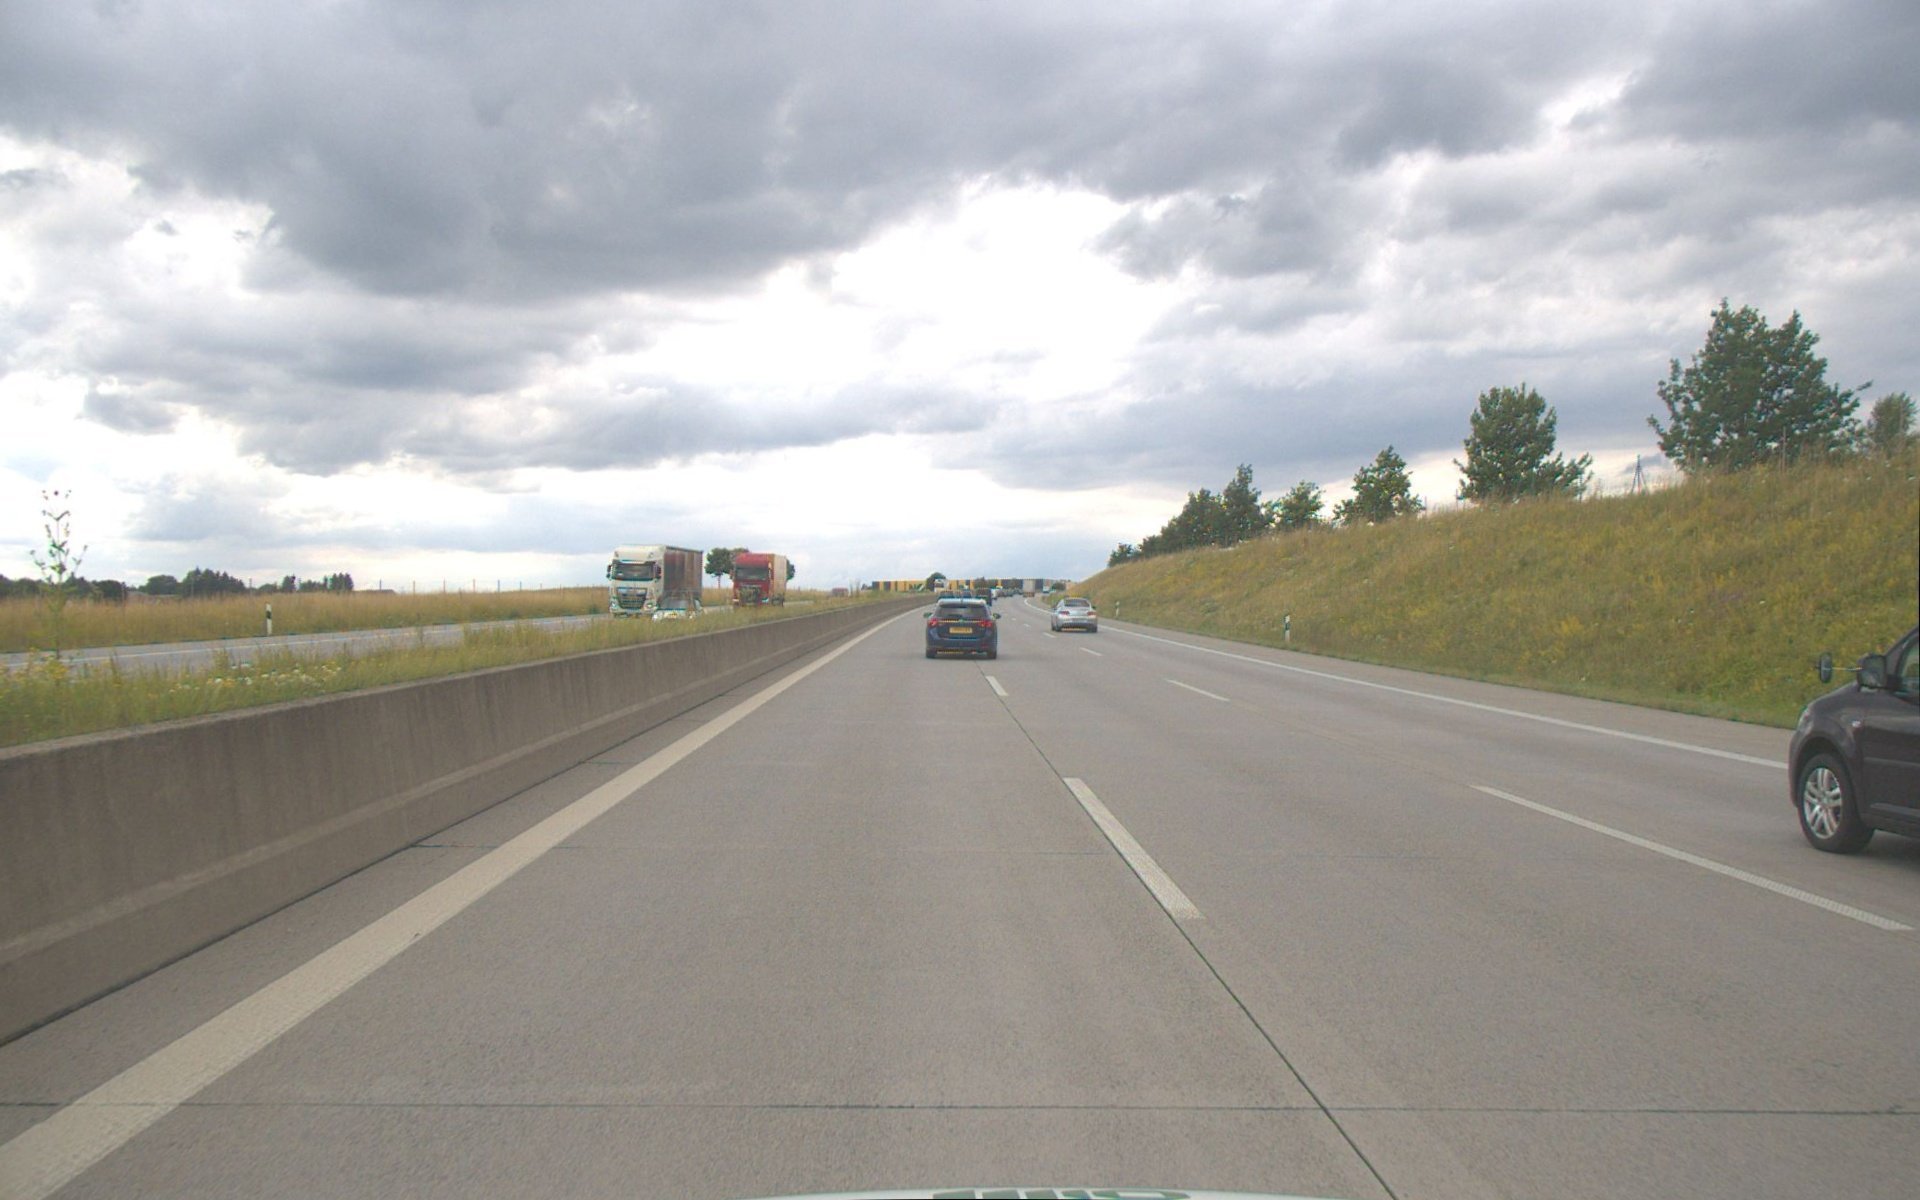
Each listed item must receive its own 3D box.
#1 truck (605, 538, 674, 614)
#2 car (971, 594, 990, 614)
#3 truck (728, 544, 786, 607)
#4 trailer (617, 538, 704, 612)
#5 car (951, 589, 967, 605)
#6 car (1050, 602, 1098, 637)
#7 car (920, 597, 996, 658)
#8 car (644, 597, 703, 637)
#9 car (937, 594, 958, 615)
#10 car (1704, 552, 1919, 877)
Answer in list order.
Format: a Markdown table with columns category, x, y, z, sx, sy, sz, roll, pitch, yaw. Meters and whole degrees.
| category | x | y | z | sx | sy | sz | roll | pitch | yaw |
| --- | --- | --- | --- | --- | --- | --- | --- | --- | --- |
| truck | -17.749 | -1.319 | 91.944 | 2.782 | 4.108 | 5.510 | 0 | 0 | -1 |
| car | 2.201 | 0.411 | 177.463 | 1.953 | 2.049 | 3.999 | 1 | -1 | 0 |
| truck | -13.809 | -1.637 | 113.198 | 2.759 | 4.108 | 10.567 | 0 | 0 | 0 |
| trailer | -17.771 | -1.430 | 99.137 | 2.781 | 4.108 | 13.906 | 0 | 0 | 0 |
| car | -0.157 | -0.386 | 213.246 | 1.953 | 2.049 | 3.999 | 1 | -1 | -1 |
| car | 4.874 | 0.819 | 71.354 | 1.752 | 1.428 | 4.221 | 0 | 0 | -1 |
| car | -0.009 | 0.659 | 41.453 | 1.738 | 1.438 | 4.001 | 0 | 0 | 2 |
| car | -10.290 | 0.591 | 59.626 | 1.535 | 1.376 | 3.472 | 0 | 0 | -1 |
| car | -1.193 | 0.468 | 161.538 | 2.005 | 2.049 | 3.999 | 1 | -1 | -1 |
| car | 6.383 | 0.654 | 9.377 | 1.900 | 1.841 | 5.029 | 0 | 0 | -2 |
